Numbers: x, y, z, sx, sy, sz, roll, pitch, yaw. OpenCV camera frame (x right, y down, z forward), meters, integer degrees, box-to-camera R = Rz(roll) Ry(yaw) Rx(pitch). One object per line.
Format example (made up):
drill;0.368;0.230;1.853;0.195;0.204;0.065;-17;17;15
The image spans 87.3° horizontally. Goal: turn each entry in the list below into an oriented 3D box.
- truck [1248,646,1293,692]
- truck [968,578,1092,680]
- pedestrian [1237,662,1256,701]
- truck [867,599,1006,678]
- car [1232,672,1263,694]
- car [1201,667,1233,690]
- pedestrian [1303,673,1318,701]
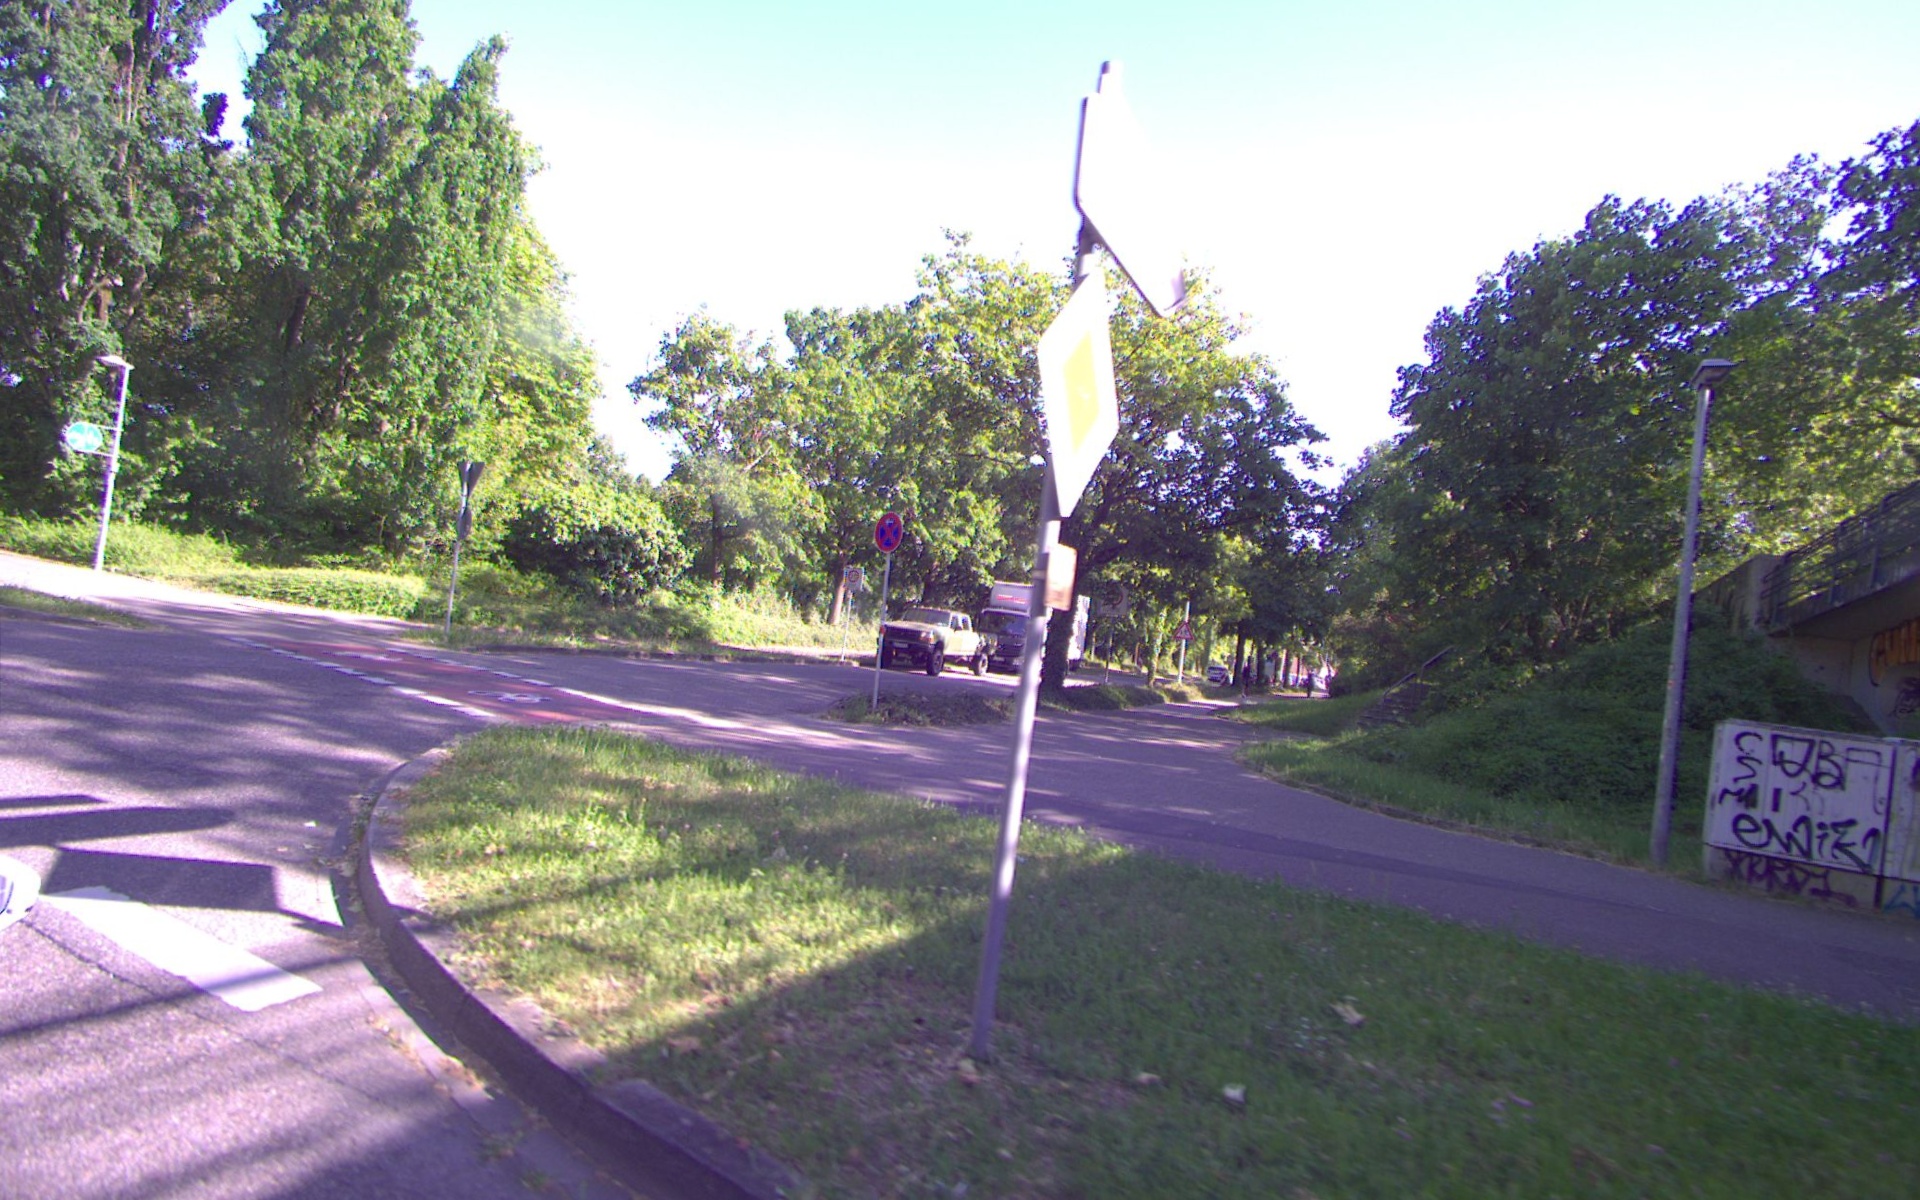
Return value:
truck;31.076;6.935;100.279;2.844;3.990;10.003;8;-2;23
truck;3.184;1.395;42.808;2.574;3.669;7.961;7;-2;22
pedestrian;14.223;4.034;49.934;0.638;1.841;0.650;7;-1;23
truck;-0.608;1.394;33.699;2.081;2.118;6.651;7;-2;21
car;22.830;6.607;79.876;1.767;1.527;4.001;7;-2;23
car;20.665;6.327;80.761;1.767;1.527;4.001;7;-2;23
pedestrian;22.683;5.641;65.120;0.638;1.681;0.650;7;-1;24
